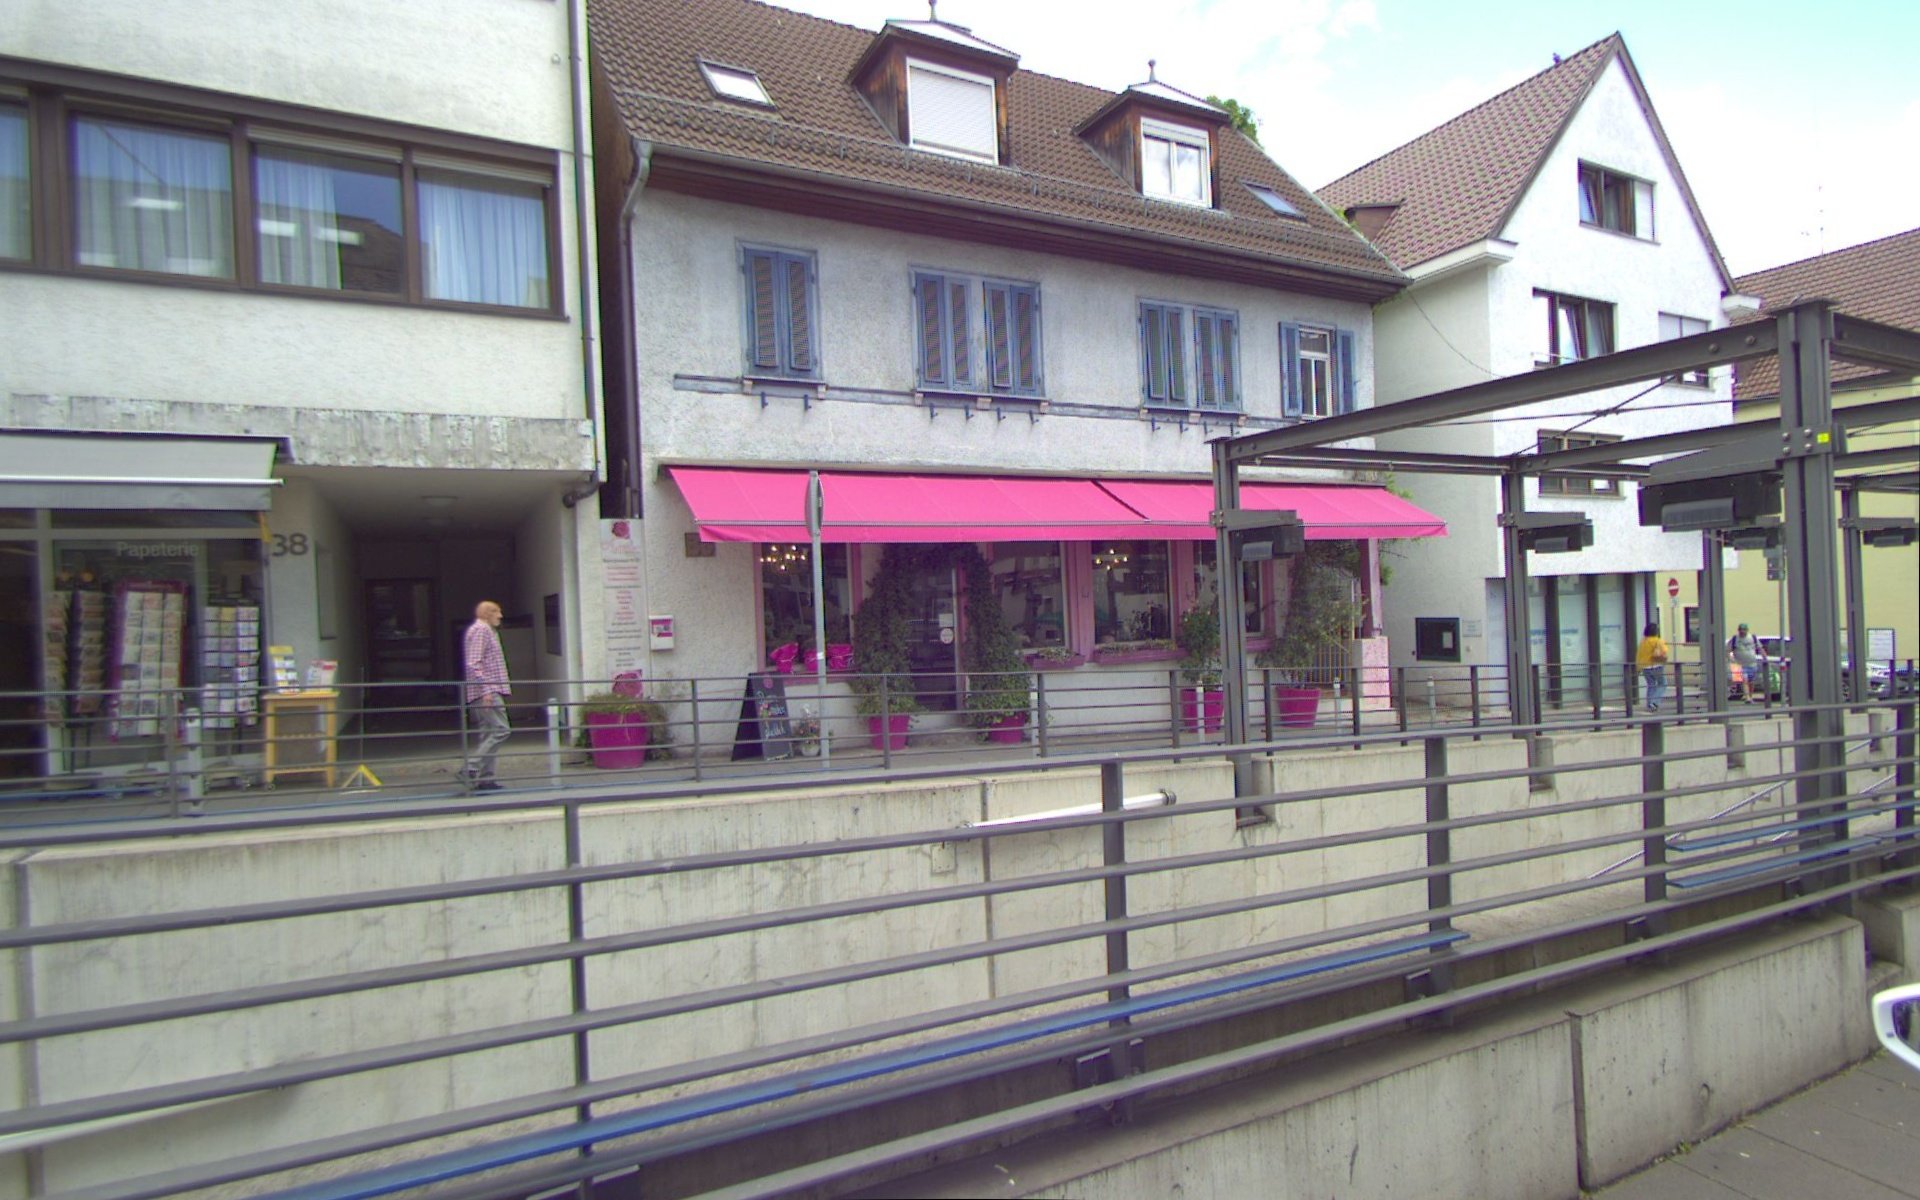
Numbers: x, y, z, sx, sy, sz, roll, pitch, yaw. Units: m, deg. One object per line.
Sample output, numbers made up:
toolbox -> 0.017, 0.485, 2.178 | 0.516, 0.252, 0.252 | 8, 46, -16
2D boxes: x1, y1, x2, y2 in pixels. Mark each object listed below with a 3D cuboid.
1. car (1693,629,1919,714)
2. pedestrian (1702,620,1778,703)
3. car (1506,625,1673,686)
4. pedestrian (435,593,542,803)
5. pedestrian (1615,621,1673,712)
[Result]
car -> 21.015, 1.709, 24.858 | 1.937, 1.641, 4.345 | 8, -2, -12
pedestrian -> 17.457, 1.366, 22.487 | 0.971, 1.811, 0.917 | 0, -2, -14
car -> 21.174, 1.919, 34.008 | 1.973, 1.829, 4.328 | -2, -3, -25
pedestrian -> -4.207, 0.842, 8.953 | 0.814, 1.763, 0.691 | 1, -2, -28
pedestrian -> 13.495, 1.303, 19.818 | 0.827, 1.761, 0.633 | 1, -3, -33
